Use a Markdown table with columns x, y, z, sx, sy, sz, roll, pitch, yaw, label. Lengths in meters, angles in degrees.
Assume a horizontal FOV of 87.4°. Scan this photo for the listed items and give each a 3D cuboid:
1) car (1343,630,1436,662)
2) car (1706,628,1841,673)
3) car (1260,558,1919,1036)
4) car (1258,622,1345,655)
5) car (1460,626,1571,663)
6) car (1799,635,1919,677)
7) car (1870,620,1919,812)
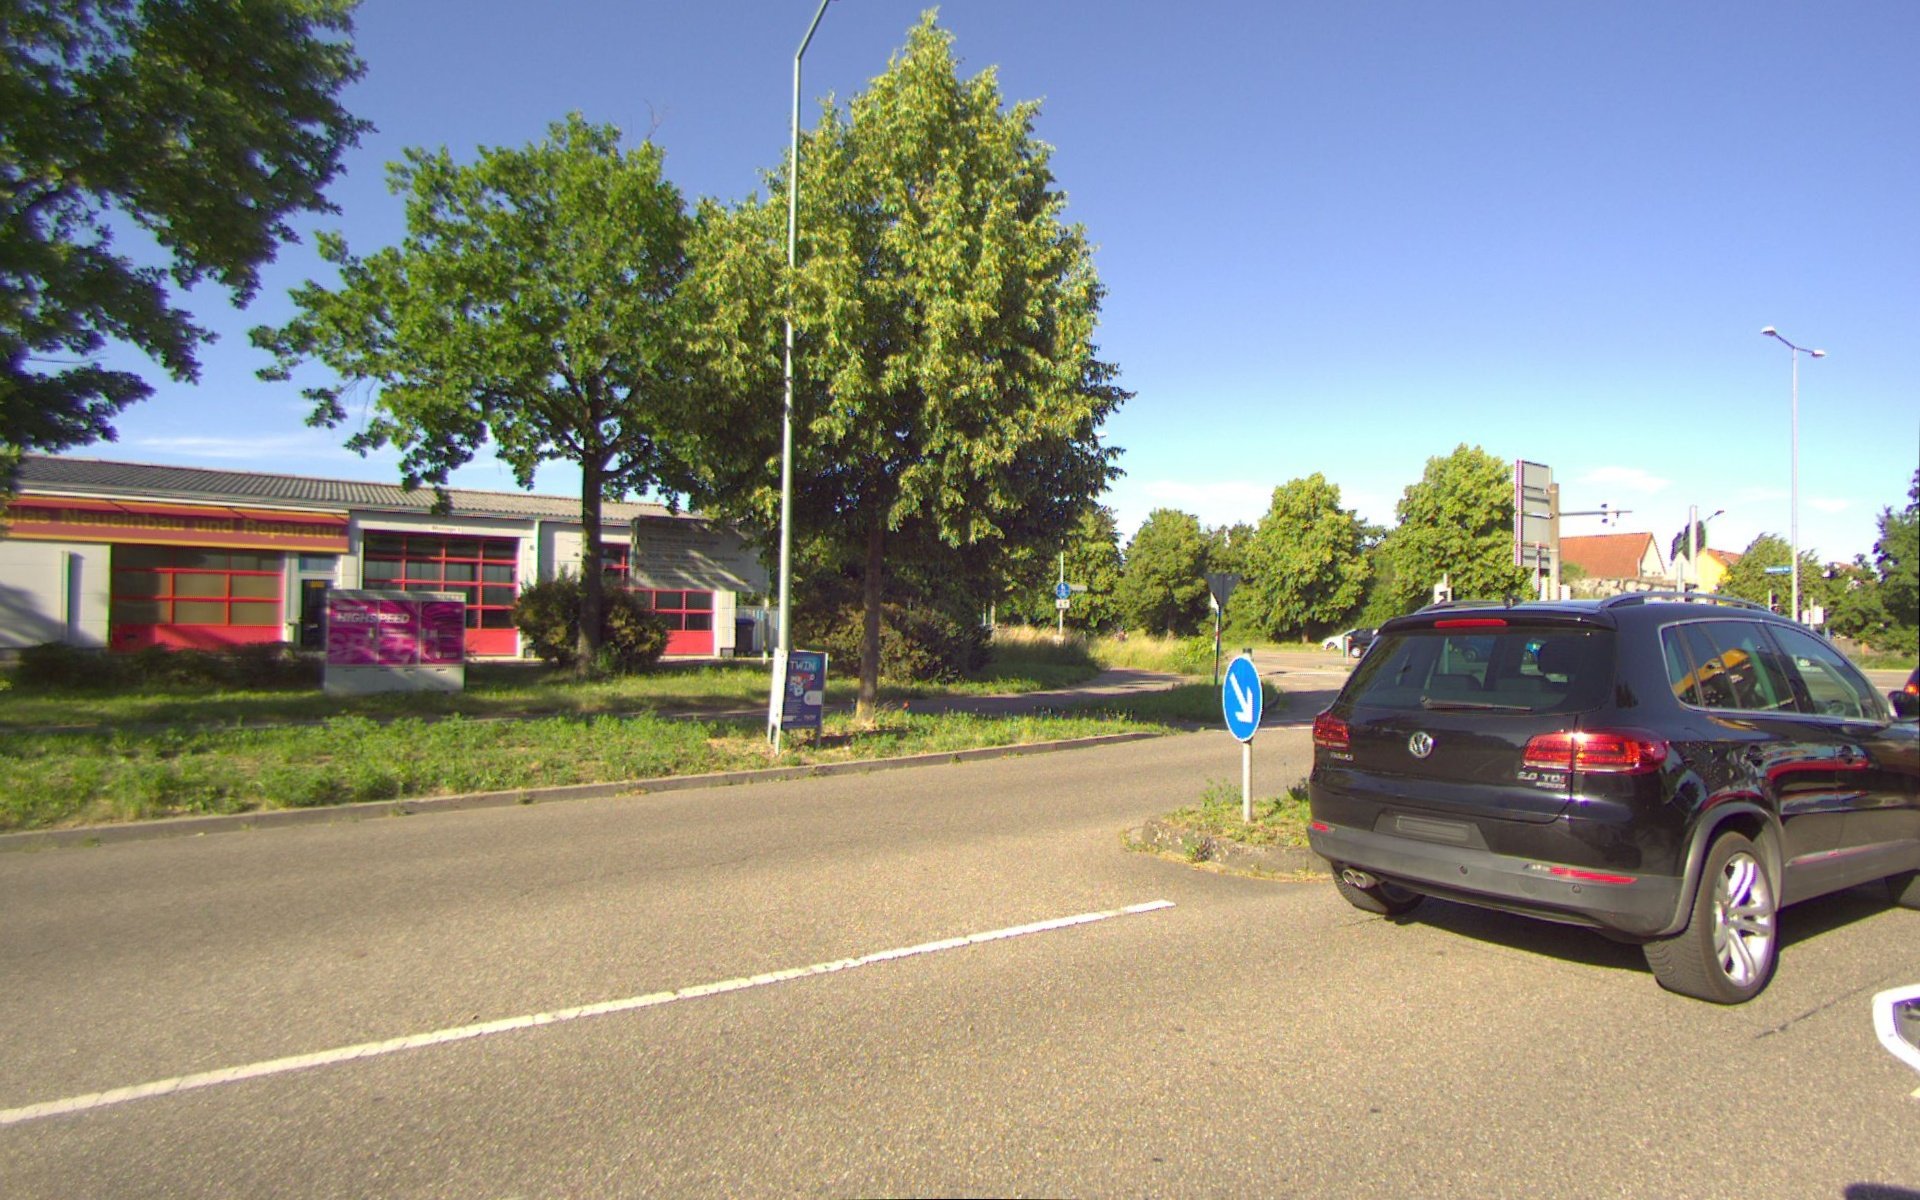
| x | y | z | sx | sy | sz | roll | pitch | yaw | label |
| --- | --- | --- | --- | --- | --- | --- | --- | --- | --- |
| 20.342 | 2.167 | 47.648 | 1.494 | 1.330 | 3.817 | 2 | -1 | -38 | car |
| 32.932 | 2.017 | 40.740 | 1.680 | 1.573 | 3.959 | 2 | -1 | -36 | car |
| 3.689 | 0.806 | 5.391 | 3.957 | 1.695 | 1.812 | 2 | -3 | -31 | car |
| 19.931 | 2.236 | 58.804 | 1.982 | 1.737 | 4.493 | 2 | -1 | -37 | car |
| 23.863 | 1.892 | 43.253 | 1.668 | 1.403 | 3.817 | 2 | -1 | -38 | car |
| 38.730 | 2.350 | 43.085 | 1.678 | 1.633 | 3.961 | 1 | -1 | -35 | car |
| 10.254 | 0.998 | 9.222 | 3.987 | 1.642 | 1.745 | 0 | -1 | -31 | car |
